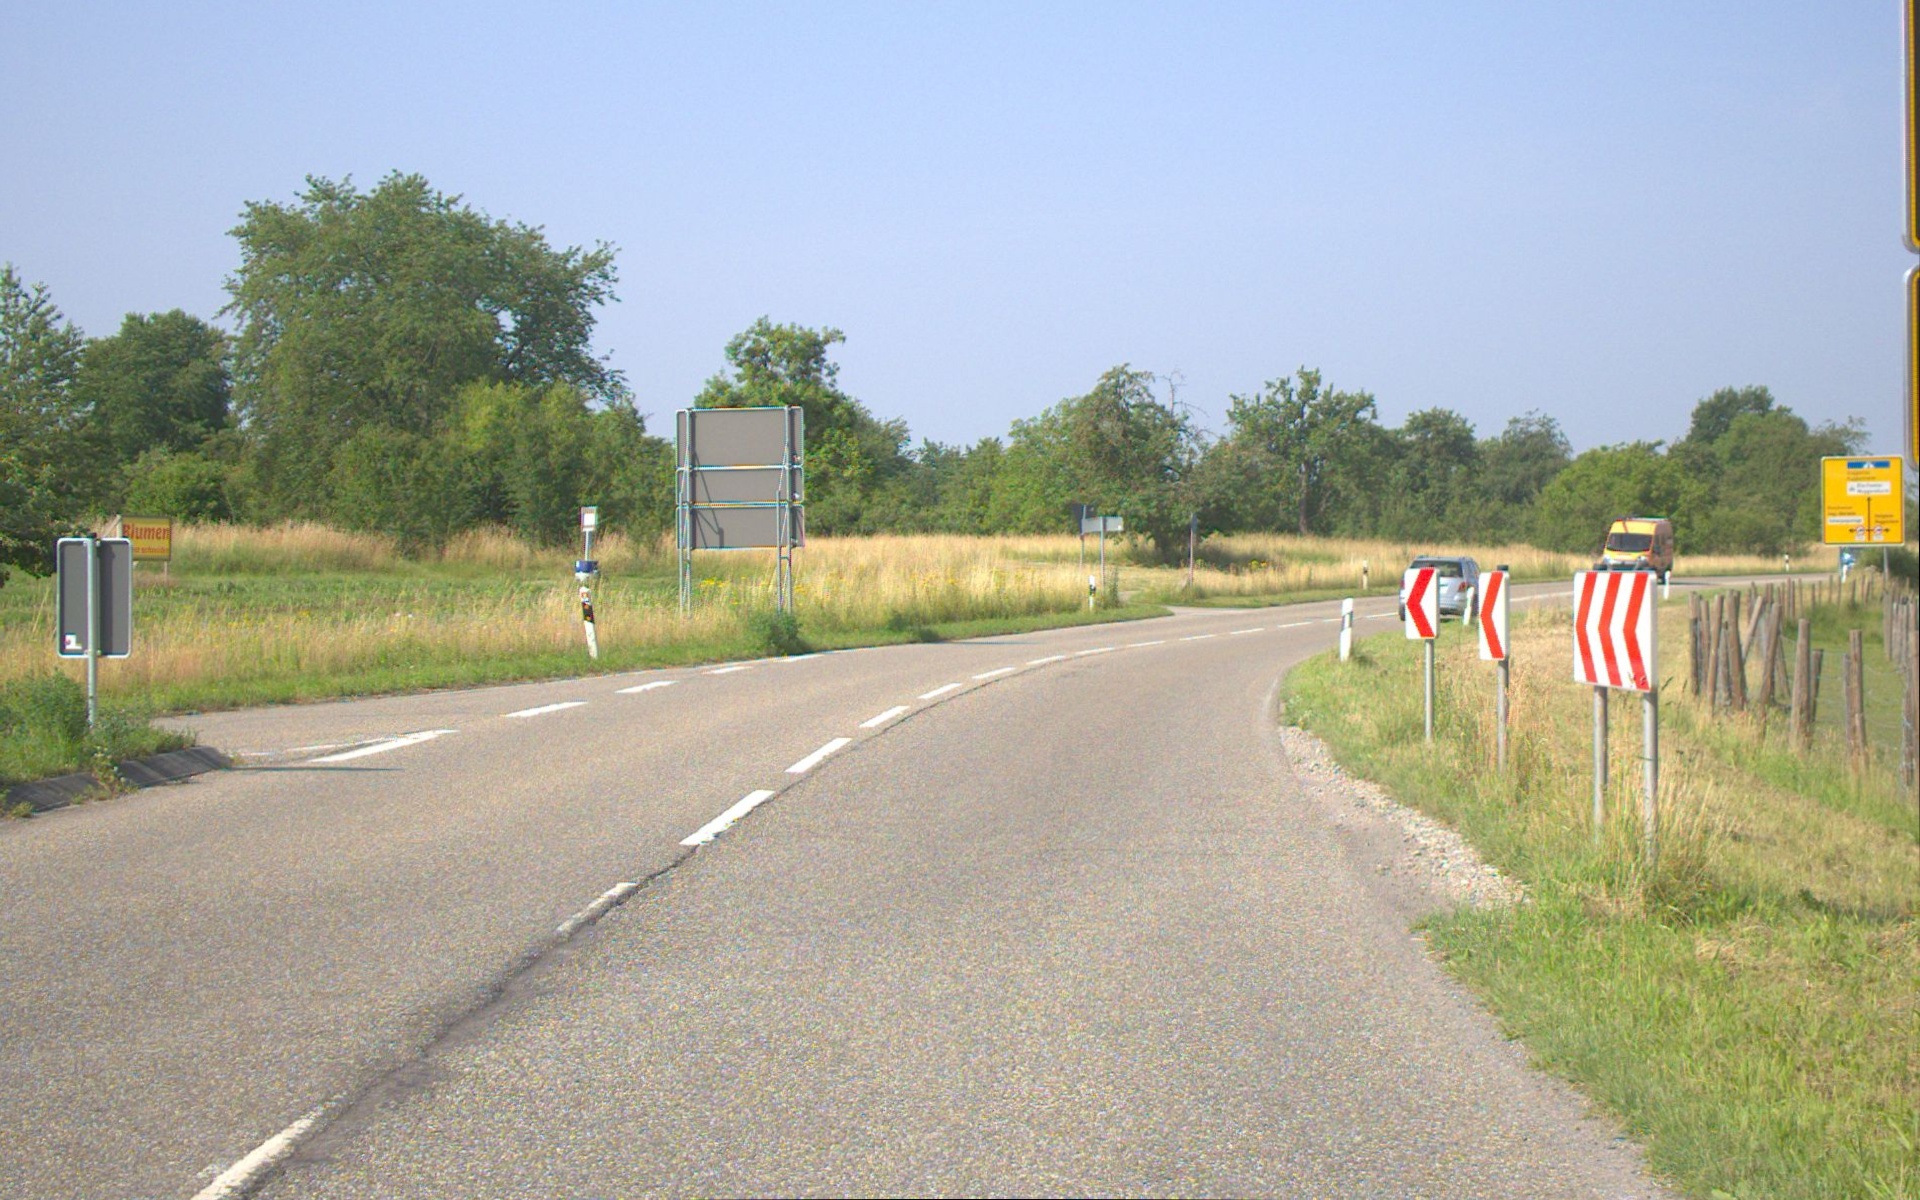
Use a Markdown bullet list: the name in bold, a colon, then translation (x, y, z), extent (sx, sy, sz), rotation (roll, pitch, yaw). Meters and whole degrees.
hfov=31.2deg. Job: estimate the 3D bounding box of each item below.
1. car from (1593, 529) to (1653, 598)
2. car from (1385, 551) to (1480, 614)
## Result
- **car**: translation (26.599, -1.481, 137.837), extent (2.125, 2.686, 5.265), rotation (1, 1, 13)
- **car**: translation (11.876, -0.443, 86.191), extent (1.900, 1.506, 3.997), rotation (1, 1, 14)
